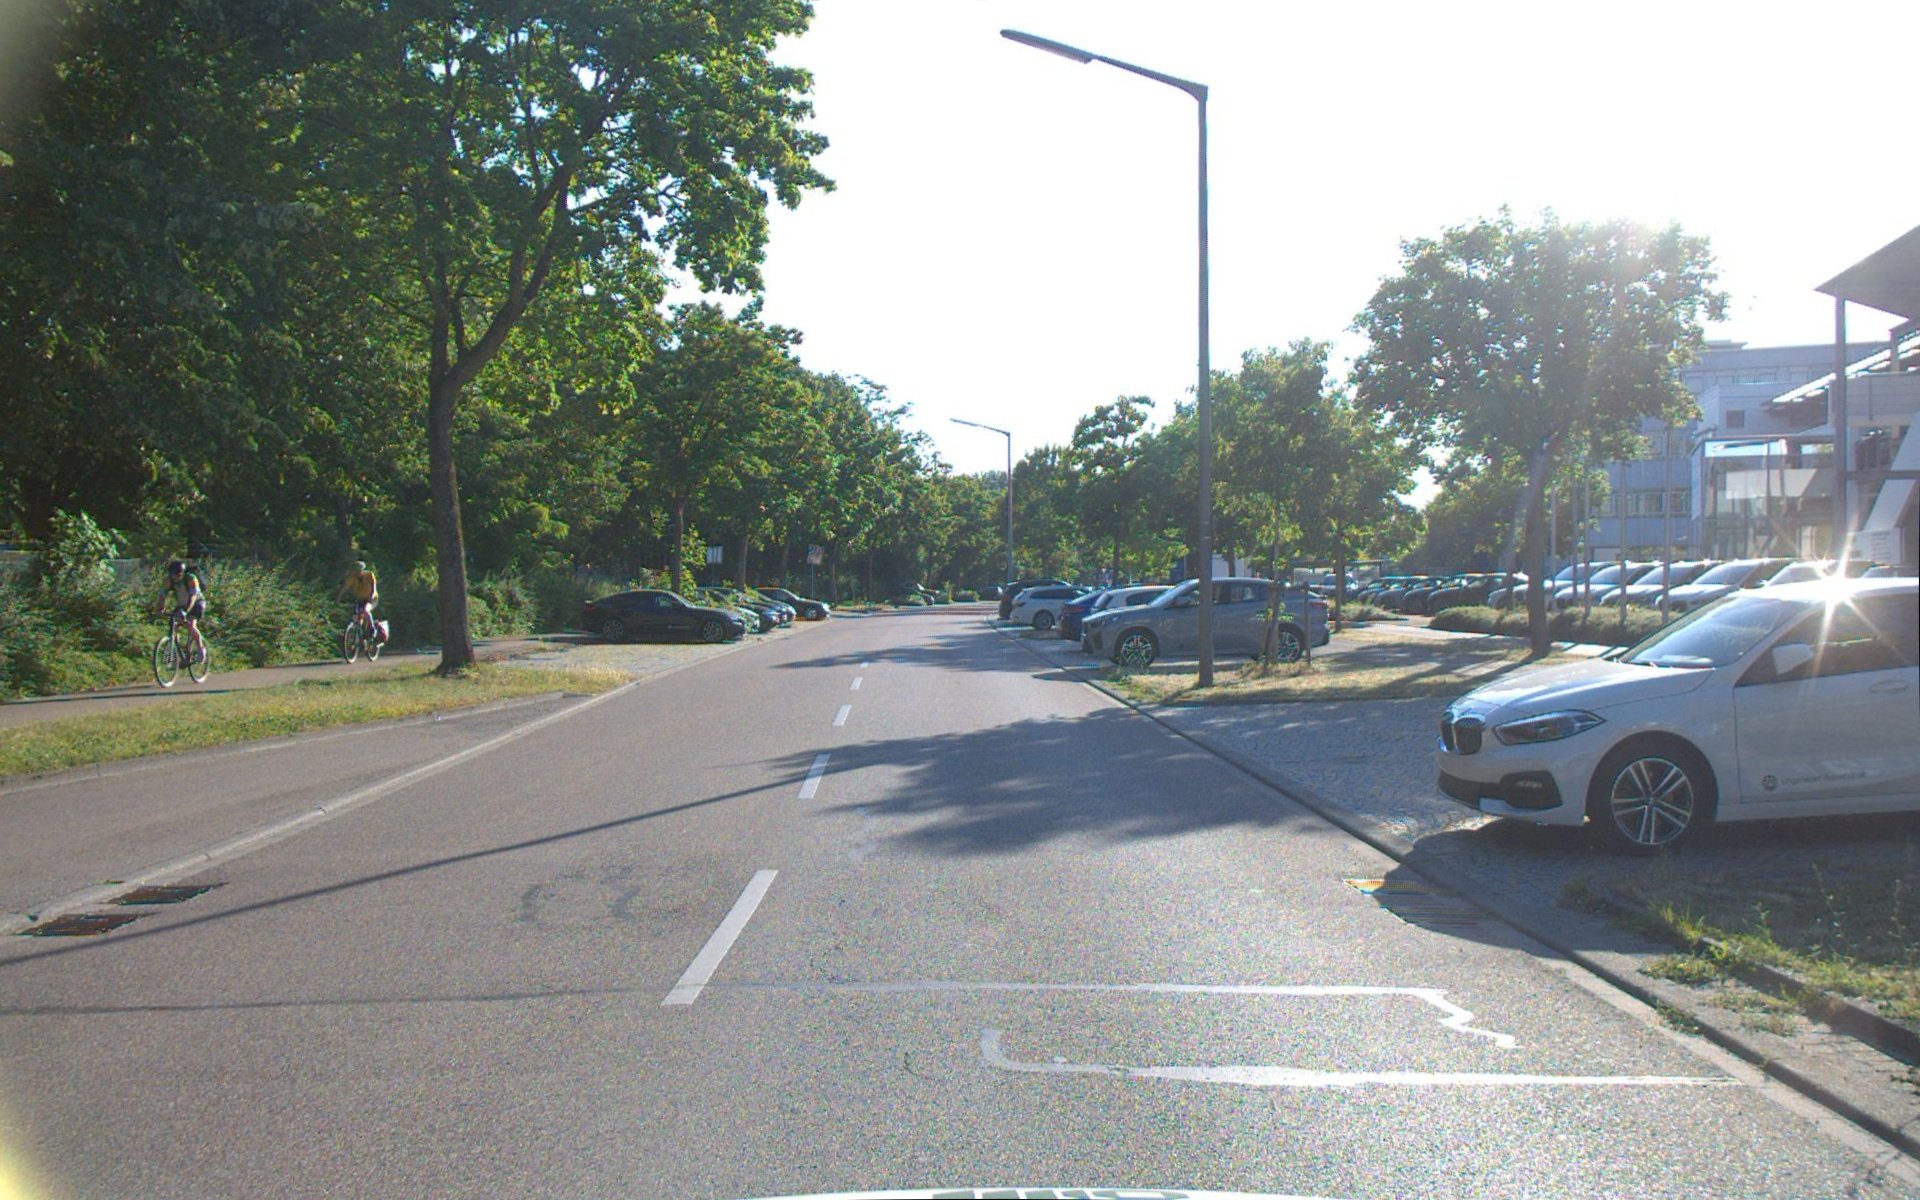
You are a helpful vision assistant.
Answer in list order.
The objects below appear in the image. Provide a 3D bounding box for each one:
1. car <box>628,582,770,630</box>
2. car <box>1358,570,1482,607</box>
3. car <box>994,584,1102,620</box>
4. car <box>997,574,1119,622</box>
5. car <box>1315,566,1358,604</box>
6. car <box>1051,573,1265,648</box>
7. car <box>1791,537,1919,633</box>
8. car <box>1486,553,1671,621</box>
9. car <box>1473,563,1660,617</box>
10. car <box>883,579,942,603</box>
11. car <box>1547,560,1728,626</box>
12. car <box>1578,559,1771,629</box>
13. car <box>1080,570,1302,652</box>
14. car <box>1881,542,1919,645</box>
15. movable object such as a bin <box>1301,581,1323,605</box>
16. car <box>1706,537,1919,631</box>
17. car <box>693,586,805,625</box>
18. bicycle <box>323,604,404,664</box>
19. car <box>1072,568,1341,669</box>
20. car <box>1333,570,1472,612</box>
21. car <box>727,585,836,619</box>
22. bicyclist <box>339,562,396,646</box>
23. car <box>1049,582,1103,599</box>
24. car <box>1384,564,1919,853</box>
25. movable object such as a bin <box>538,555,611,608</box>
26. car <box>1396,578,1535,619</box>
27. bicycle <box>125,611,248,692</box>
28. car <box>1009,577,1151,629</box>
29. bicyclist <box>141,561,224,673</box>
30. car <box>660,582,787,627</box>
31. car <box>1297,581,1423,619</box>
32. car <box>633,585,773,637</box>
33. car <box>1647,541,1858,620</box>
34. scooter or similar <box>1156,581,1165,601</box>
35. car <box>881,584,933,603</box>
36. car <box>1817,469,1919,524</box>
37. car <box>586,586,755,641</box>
[{"bbox_3d":[-9.159,0.201,58.398,4.754,1.557,1.998,1,0,-4],"label":"car"},{"bbox_3d":[19.546,-0.492,70.397,4.701,1.489,2.036,-1,0,41],"label":"car"},{"bbox_3d":[3.659,0.076,69.538,4.390,1.428,2.033,-1,1,-1],"label":"car"},{"bbox_3d":[3.758,-0.101,63.580,4.596,1.781,2.193,-1,1,3],"label":"car"},{"bbox_3d":[19.608,-0.794,85.998,1.988,1.860,4.980,-1,1,15],"label":"car"},{"bbox_3d":[4.424,0.215,37.487,4.531,1.481,2.000,-2,0,-1],"label":"car"},{"bbox_3d":[18.230,-0.337,31.545,4.538,1.695,1.982,-2,1,-28],"label":"car"},{"bbox_3d":[17.471,-0.383,46.719,4.660,1.720,2.389,-2,1,-28],"label":"car"},{"bbox_3d":[18.776,-0.295,51.389,1.986,1.599,5.105,-1,1,-45],"label":"car"},{"bbox_3d":[-4.119,-0.805,143.603,4.898,2.055,2.176,0,0,6],"label":"car"},{"bbox_3d":[17.769,-0.203,43.359,4.537,1.601,1.982,-1,0,-28],"label":"car"},{"bbox_3d":[17.512,-0.175,40.508,4.537,1.601,1.982,-1,0,-28],"label":"car"},{"bbox_3d":[4.751,0.217,34.523,4.288,1.505,2.000,-2,0,-1],"label":"car"},{"bbox_3d":[18.054,-0.117,28.181,4.536,1.695,1.983,0,1,-27],"label":"car"},{"bbox_3d":[19.247,-0.387,90.508,1.093,1.290,1.039,0,0,6],"label":"movable object such as a bin"},{"bbox_3d":[17.956,-0.349,34.475,4.539,1.601,1.982,-5,1,-28],"label":"car"},{"bbox_3d":[-8.737,0.228,68.722,4.388,1.487,2.000,1,0,-1],"label":"car"},{"bbox_3d":[-11.225,0.617,31.195,0.750,1.057,2.217,-1,0,-1],"label":"bicycle"},{"bbox_3d":[4.422,0.315,30.154,4.500,1.612,1.998,-2,0,-4],"label":"car"},{"bbox_3d":[16.492,-0.320,61.794,1.986,1.489,4.710,-1,1,-45],"label":"car"},{"bbox_3d":[-8.429,0.080,78.325,4.932,1.487,2.000,1,0,-1],"label":"car"},{"bbox_3d":[-11.215,0.077,31.315,0.716,1.556,0.951,-1,0,-1],"label":"bicyclist"},{"bbox_3d":[11.090,-0.896,157.859,5.065,1.601,2.160,-1,0,8],"label":"car"},{"bbox_3d":[4.970,0.559,10.185,4.114,1.469,2.087,-2,0,-3],"label":"car"},{"bbox_3d":[-20.554,-0.967,88.101,2.141,2.711,4.743,-1,1,-36],"label":"movable object such as a bin"},{"bbox_3d":[19.326,-0.061,63.297,4.701,1.489,1.989,-1,1,41],"label":"car"},{"bbox_3d":[-11.127,0.717,23.885,0.750,1.057,2.217,-1,1,-1],"label":"bicycle"},{"bbox_3d":[4.017,0.098,55.969,4.600,1.505,2.000,-2,2,-1],"label":"car"},{"bbox_3d":[-11.126,0.231,23.705,0.716,1.556,0.951,-1,0,-1],"label":"bicyclist"},{"bbox_3d":[-8.704,0.147,61.110,4.388,1.557,2.000,1,0,-1],"label":"car"},{"bbox_3d":[16.568,0.000,68.637,4.701,1.489,1.989,-1,0,41],"label":"car"},{"bbox_3d":[-8.265,0.341,53.462,4.199,1.557,2.000,1,0,0],"label":"car"},{"bbox_3d":[17.916,-0.445,37.352,4.537,1.601,1.982,-2,1,-28],"label":"car"},{"bbox_3d":[13.252,-0.616,109.415,0.509,1.294,1.388,-1,0,5],"label":"scooter or similar"},{"bbox_3d":[-4.470,-0.516,139.635,4.122,1.557,1.707,0,0,6],"label":"car"},{"bbox_3d":[31.070,-3.438,55.296,3.902,1.695,1.789,2,1,12],"label":"car"},{"bbox_3d":[-8.295,0.377,47.660,4.556,1.446,1.915,1,0,-3],"label":"car"}]
